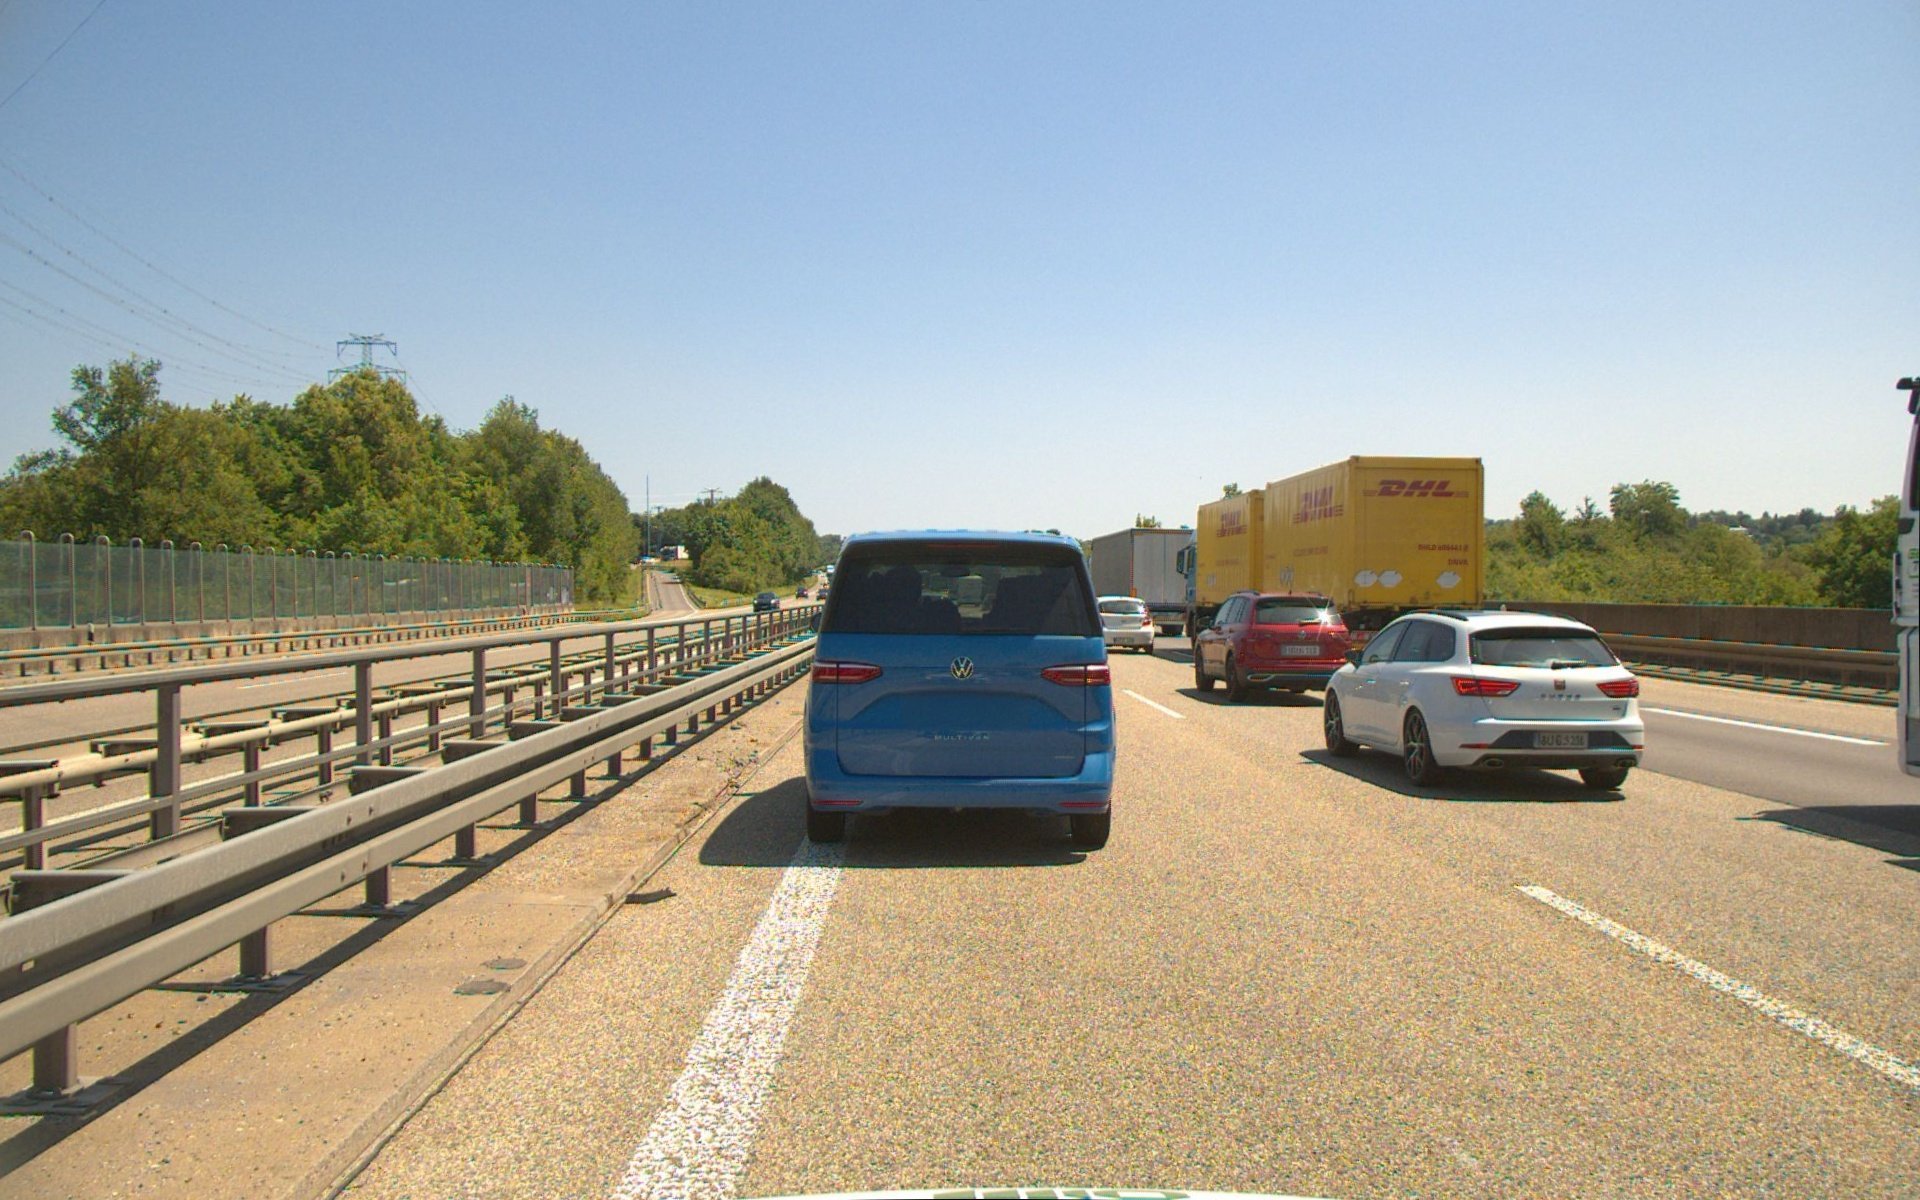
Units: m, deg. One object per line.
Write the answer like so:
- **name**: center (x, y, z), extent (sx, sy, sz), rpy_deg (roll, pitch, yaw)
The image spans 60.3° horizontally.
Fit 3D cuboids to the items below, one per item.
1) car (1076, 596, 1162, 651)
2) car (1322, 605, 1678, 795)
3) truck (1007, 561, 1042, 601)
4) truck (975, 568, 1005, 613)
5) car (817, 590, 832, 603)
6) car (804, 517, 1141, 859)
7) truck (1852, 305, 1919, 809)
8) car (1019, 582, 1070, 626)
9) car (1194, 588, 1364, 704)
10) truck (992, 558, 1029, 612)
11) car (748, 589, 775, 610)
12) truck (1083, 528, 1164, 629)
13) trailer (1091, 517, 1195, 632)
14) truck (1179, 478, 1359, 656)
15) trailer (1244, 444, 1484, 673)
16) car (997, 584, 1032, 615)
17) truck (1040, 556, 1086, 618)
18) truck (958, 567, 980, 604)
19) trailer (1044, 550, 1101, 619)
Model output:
- **car**: center (4.286, 0.613, 45.127), extent (1.801, 1.438, 3.998), rpy_deg (0, 0, -2)
- **car**: center (4.573, 0.768, 14.692), extent (1.745, 1.411, 4.187), rpy_deg (1, 0, -1)
- **truck**: center (5.621, -1.604, 145.536), extent (2.308, 3.275, 9.736), rpy_deg (1, 0, -2)
- **truck**: center (3.464, -1.046, 194.749), extent (2.777, 5.128, 11.810), rpy_deg (1, -1, -2)
- **car**: center (-17.889, -0.464, 218.418), extent (1.719, 1.574, 3.999), rpy_deg (-2, 0, -1)
- **car**: center (0.043, 0.481, 11.107), extent (1.844, 1.869, 3.999), rpy_deg (0, 0, -1)
- **truck**: center (8.448, -0.316, 7.491), extent (2.793, 3.666, 10.765), rpy_deg (1, 0, -1)
- **car**: center (3.232, 0.141, 64.187), extent (1.680, 1.614, 3.820), rpy_deg (-1, 0, -1)
- **car**: center (4.877, 0.653, 25.784), extent (1.813, 1.636, 3.999), rpy_deg (1, 0, -1)
- **truck**: center (4.957, -1.409, 164.929), extent (2.777, 5.128, 11.140), rpy_deg (1, -1, -2)
- **car**: center (-16.148, -0.040, 134.826), extent (1.744, 1.596, 4.385), rpy_deg (-2, 0, -1)
- **truck**: center (7.151, -0.879, 73.045), extent (2.712, 4.167, 6.982), rpy_deg (1, -1, -1)
- **trailer**: center (7.261, -0.918, 67.243), extent (2.699, 4.219, 11.309), rpy_deg (1, 0, -1)
- **truck**: center (7.969, -0.743, 44.117), extent (2.667, 4.125, 10.333), rpy_deg (1, -1, -1)
- **trailer**: center (8.095, -0.713, 34.461), extent (2.646, 4.094, 8.928), rpy_deg (1, -1, -1)
- **car**: center (2.910, -0.030, 88.896), extent (1.680, 1.567, 3.820), rpy_deg (-1, 0, -1)
- **truck**: center (6.452, -0.766, 104.605), extent (2.320, 3.787, 6.031), rpy_deg (1, -1, -1)
- **truck**: center (1.345, -2.166, 259.086), extent (2.777, 5.467, 12.548), rpy_deg (1, -1, -2)
- **trailer**: center (6.592, -0.815, 98.277), extent (2.331, 3.809, 11.184), rpy_deg (1, 0, -1)
